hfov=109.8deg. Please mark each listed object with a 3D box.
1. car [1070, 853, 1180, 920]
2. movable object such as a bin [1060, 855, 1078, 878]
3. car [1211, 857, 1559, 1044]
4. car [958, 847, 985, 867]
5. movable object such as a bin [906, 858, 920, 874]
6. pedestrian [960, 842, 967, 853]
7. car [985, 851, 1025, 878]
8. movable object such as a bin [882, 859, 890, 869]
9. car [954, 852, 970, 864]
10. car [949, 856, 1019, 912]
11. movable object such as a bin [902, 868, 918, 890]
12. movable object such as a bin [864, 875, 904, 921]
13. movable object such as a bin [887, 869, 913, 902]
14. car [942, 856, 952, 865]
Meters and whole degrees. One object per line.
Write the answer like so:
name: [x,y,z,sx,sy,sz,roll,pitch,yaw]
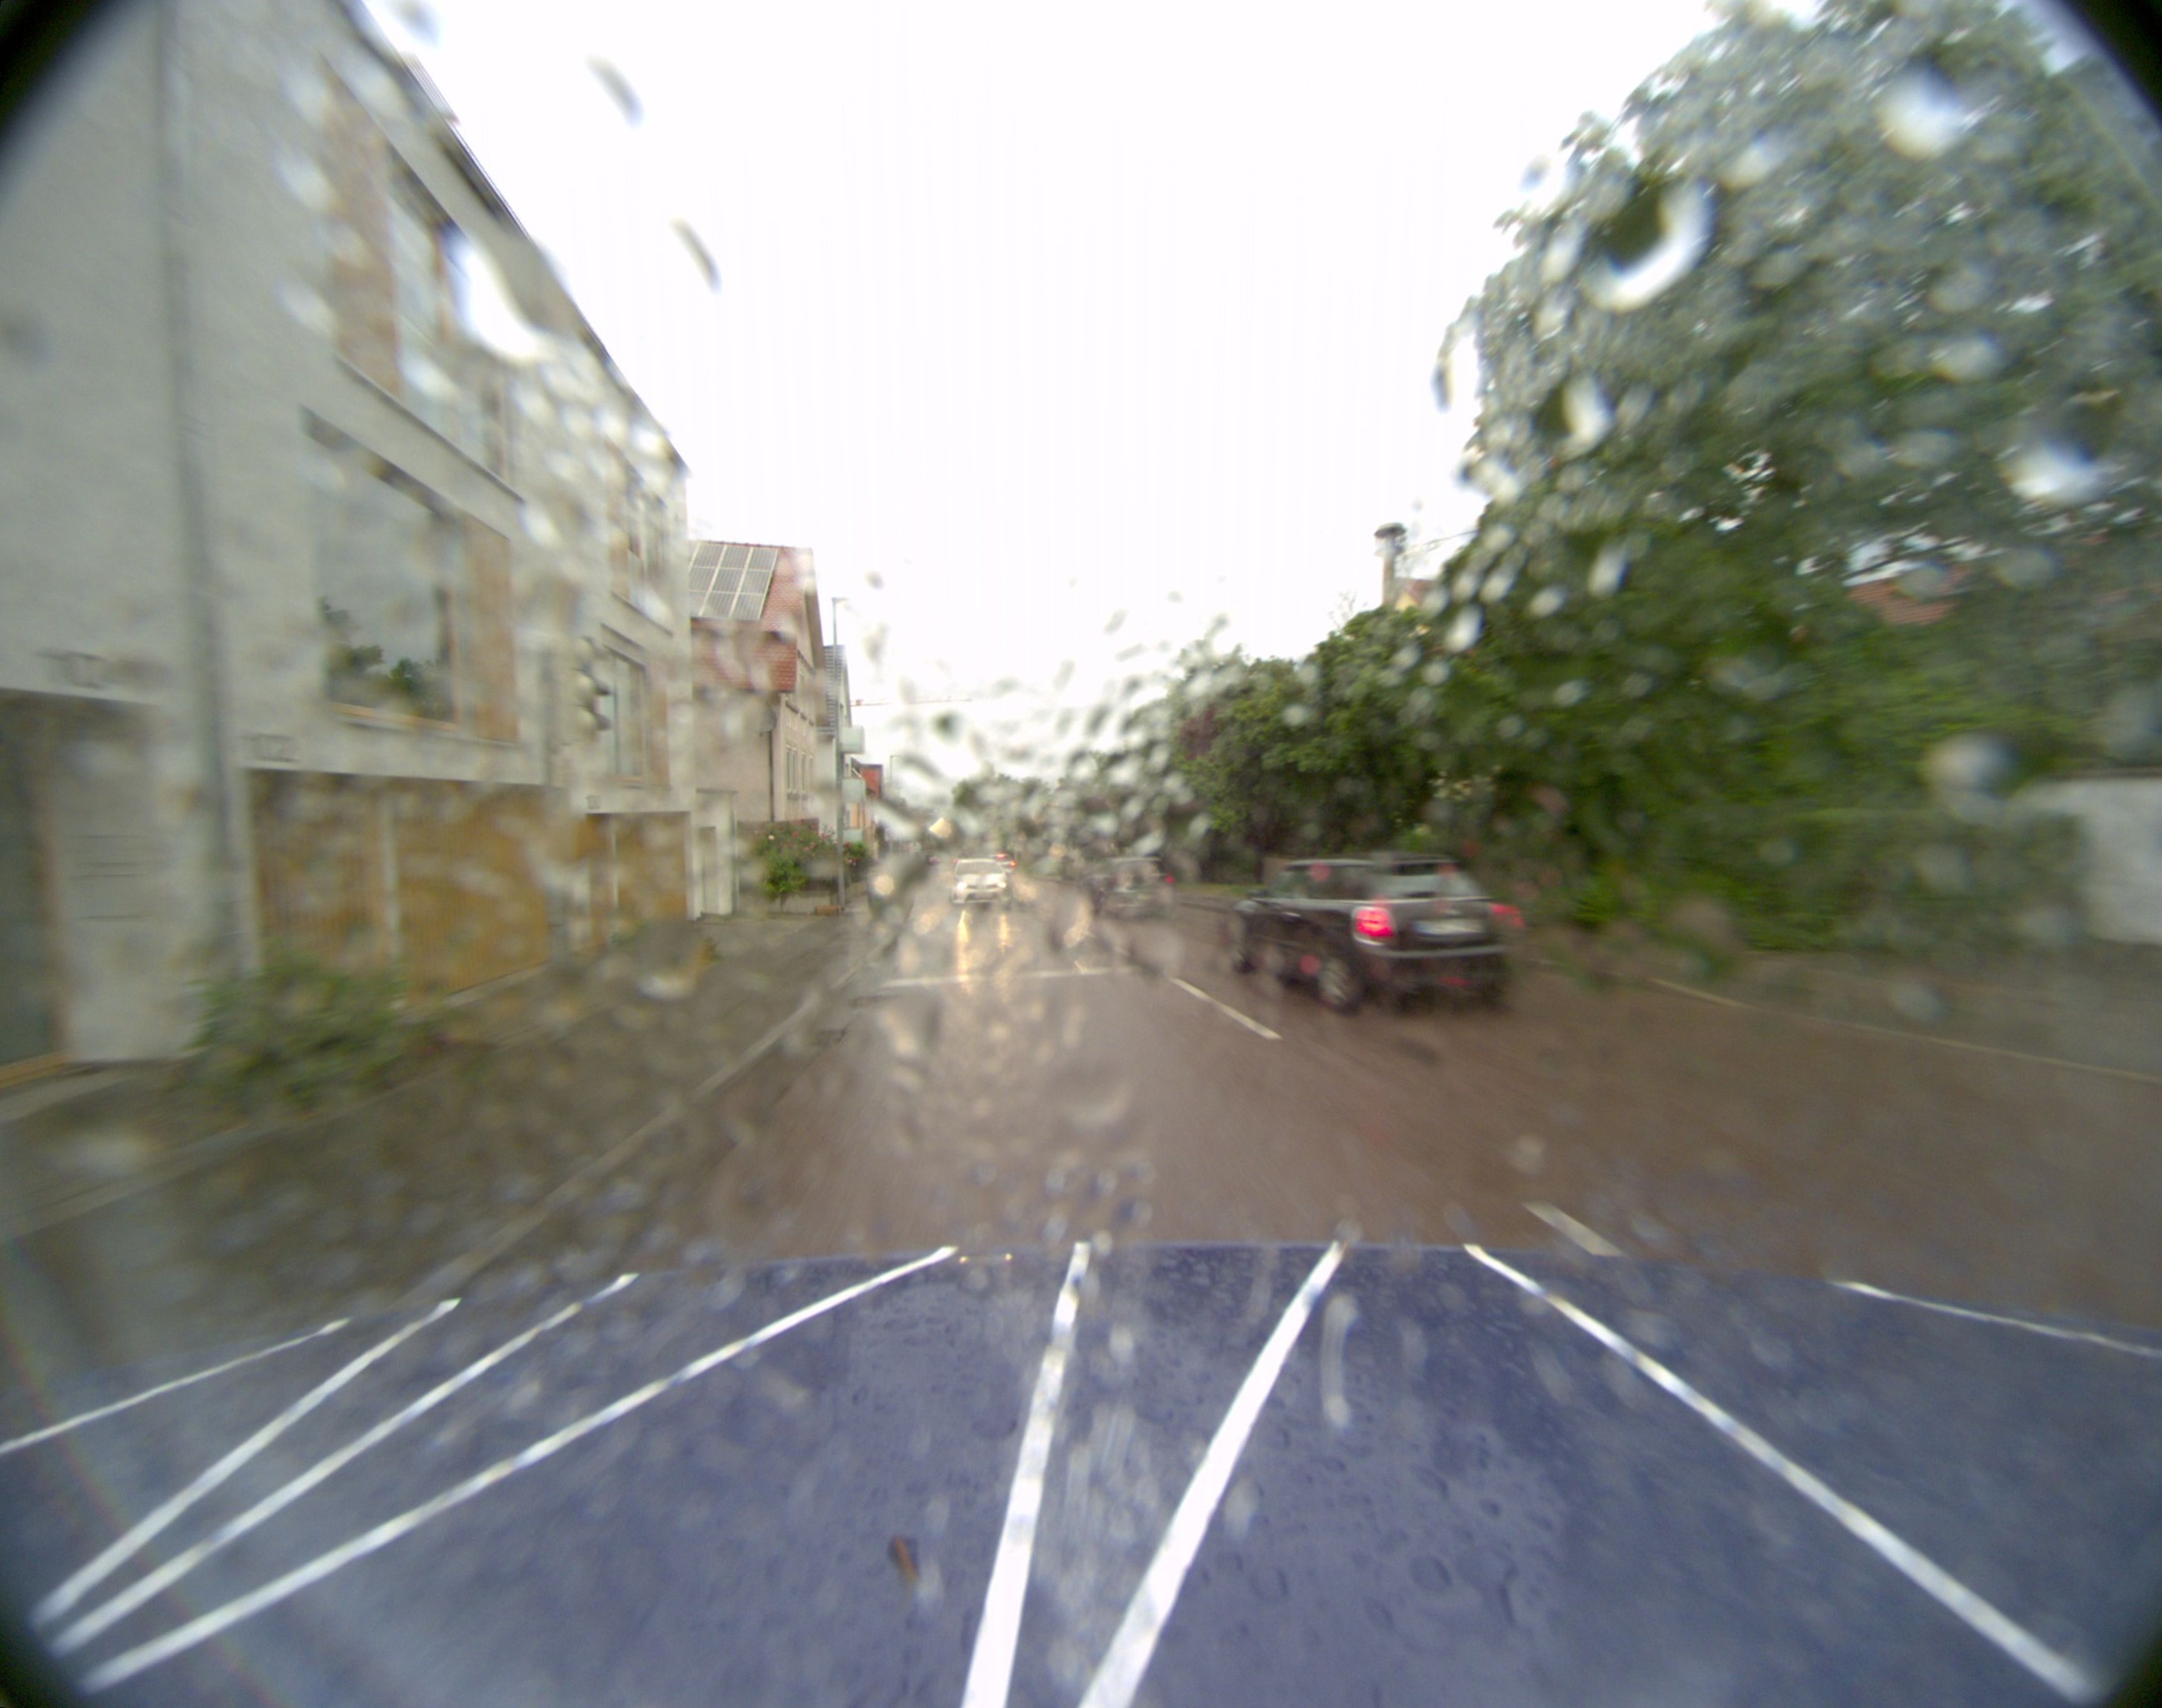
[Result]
car: [0.966,0.719,18.798,1.825,1.414,3.896,-2,1,-10]
movable object such as a bin: [-0.613,0.631,38.918,0.723,1.093,0.756,-3,1,-11]
car: [2.802,0.770,7.953,1.682,1.397,3.674,-2,1,-10]
car: [-9.617,0.274,66.696,1.925,1.614,4.358,-2,1,-13]
movable object such as a bin: [-12.599,0.897,56.934,0.917,1.097,0.701,-2,1,-9]
pedestrian: [-20.880,-1.178,134.828,0.972,1.820,0.893,-2,1,-20]
car: [-4.758,0.644,47.097,1.811,1.545,3.824,-2,1,-14]
movable object such as a bin: [-18.927,0.966,73.821,0.612,0.961,0.791,5,-1,-14]
car: [-14.861,0.469,94.652,1.624,1.433,3.733,-2,1,-13]
car: [-3.083,0.852,23.523,1.860,1.427,4.012,-3,1,-10]
movable object such as a bin: [-7.476,1.079,33.179,0.632,0.892,0.711,-2,1,-11]
movable object such as a bin: [-4.796,1.056,18.539,0.838,1.054,0.749,-2,1,-10]
movable object such as a bin: [-6.157,1.067,25.864,0.799,1.064,0.760,-2,1,-10]
car: [-23.792,1.156,134.962,1.566,1.446,4.080,-2,1,-12]
